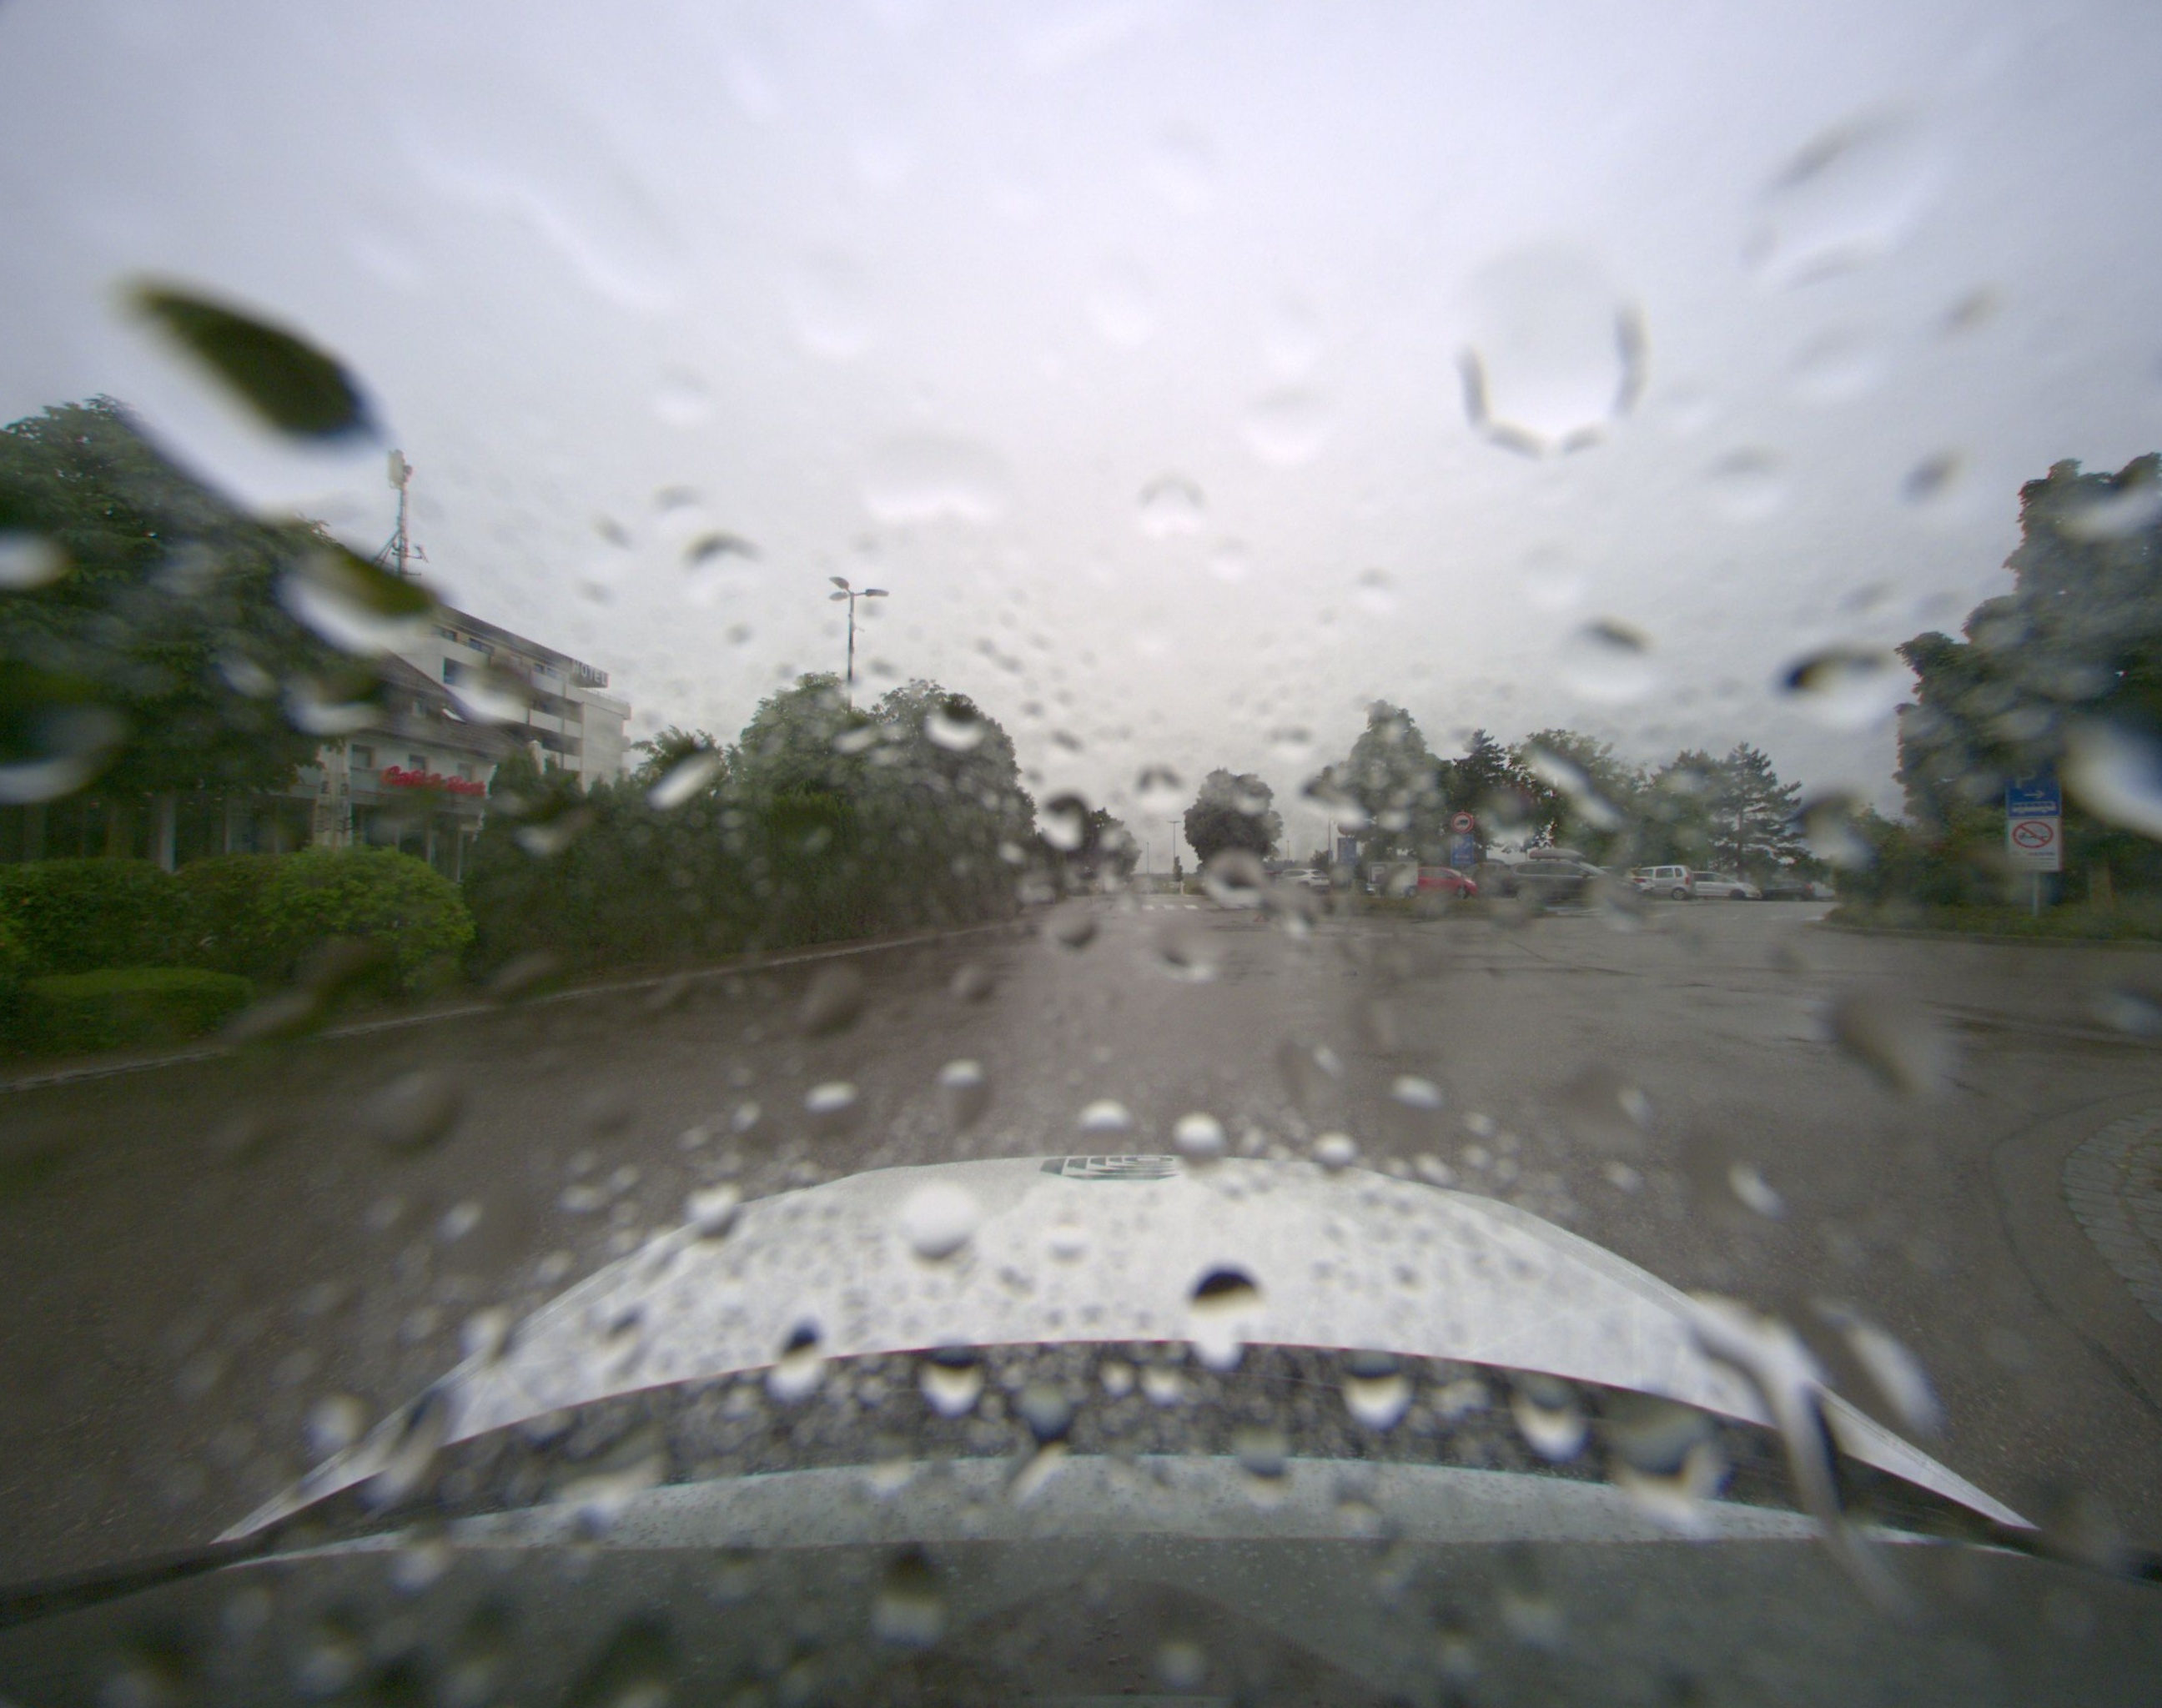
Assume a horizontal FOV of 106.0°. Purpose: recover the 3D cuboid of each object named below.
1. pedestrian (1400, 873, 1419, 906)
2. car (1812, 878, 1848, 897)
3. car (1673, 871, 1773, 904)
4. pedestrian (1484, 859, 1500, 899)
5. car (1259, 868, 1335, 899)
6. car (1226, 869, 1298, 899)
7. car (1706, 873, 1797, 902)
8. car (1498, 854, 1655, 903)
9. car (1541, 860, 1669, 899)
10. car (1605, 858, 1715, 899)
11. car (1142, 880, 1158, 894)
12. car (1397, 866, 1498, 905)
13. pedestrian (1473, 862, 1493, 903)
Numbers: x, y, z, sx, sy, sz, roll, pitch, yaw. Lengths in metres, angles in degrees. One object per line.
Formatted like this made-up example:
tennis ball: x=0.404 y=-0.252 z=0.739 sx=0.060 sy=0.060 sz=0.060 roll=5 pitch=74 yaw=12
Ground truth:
pedestrian: x=13.596 y=1.460 z=33.693 sx=0.639 sy=1.362 sz=0.453 roll=1 pitch=-3 yaw=8
car: x=54.412 y=2.426 z=59.167 sx=3.834 sy=1.370 sz=1.630 roll=2 pitch=-3 yaw=-43
car: x=37.843 y=2.014 z=48.085 sx=1.860 sy=1.862 sz=4.316 roll=3 pitch=-4 yaw=-41
pedestrian: x=17.737 y=1.091 z=35.136 sx=0.603 sy=1.725 sz=0.688 roll=0 pitch=-3 yaw=30
car: x=13.358 y=1.844 z=50.549 sx=1.729 sy=1.862 sz=4.316 roll=3 pitch=-4 yaw=-41
car: x=10.814 y=1.835 z=48.889 sx=1.729 sy=1.716 sz=3.978 roll=3 pitch=-4 yaw=-41
car: x=43.953 y=2.155 z=53.452 sx=1.860 sy=1.862 sz=4.316 roll=2 pitch=-2 yaw=-41
car: x=19.587 y=0.991 z=32.378 sx=2.011 sy=1.792 sz=4.891 roll=0 pitch=-2 yaw=-41
car: x=21.836 y=1.070 z=34.089 sx=1.752 sy=1.517 sz=4.148 roll=0 pitch=-1 yaw=-40
car: x=27.933 y=1.199 z=39.392 sx=1.860 sy=1.862 sz=3.975 roll=3 pitch=-4 yaw=-41
car: x=10.566 y=5.036 z=124.256 sx=1.691 sy=2.014 sz=4.015 roll=1 pitch=-3 yaw=15
car: x=17.602 y=1.504 z=39.189 sx=1.861 sy=1.792 sz=3.975 roll=0 pitch=-2 yaw=-42
pedestrian: x=16.648 y=1.189 z=33.705 sx=0.707 sy=1.639 sz=0.650 roll=-1 pitch=-4 yaw=27
